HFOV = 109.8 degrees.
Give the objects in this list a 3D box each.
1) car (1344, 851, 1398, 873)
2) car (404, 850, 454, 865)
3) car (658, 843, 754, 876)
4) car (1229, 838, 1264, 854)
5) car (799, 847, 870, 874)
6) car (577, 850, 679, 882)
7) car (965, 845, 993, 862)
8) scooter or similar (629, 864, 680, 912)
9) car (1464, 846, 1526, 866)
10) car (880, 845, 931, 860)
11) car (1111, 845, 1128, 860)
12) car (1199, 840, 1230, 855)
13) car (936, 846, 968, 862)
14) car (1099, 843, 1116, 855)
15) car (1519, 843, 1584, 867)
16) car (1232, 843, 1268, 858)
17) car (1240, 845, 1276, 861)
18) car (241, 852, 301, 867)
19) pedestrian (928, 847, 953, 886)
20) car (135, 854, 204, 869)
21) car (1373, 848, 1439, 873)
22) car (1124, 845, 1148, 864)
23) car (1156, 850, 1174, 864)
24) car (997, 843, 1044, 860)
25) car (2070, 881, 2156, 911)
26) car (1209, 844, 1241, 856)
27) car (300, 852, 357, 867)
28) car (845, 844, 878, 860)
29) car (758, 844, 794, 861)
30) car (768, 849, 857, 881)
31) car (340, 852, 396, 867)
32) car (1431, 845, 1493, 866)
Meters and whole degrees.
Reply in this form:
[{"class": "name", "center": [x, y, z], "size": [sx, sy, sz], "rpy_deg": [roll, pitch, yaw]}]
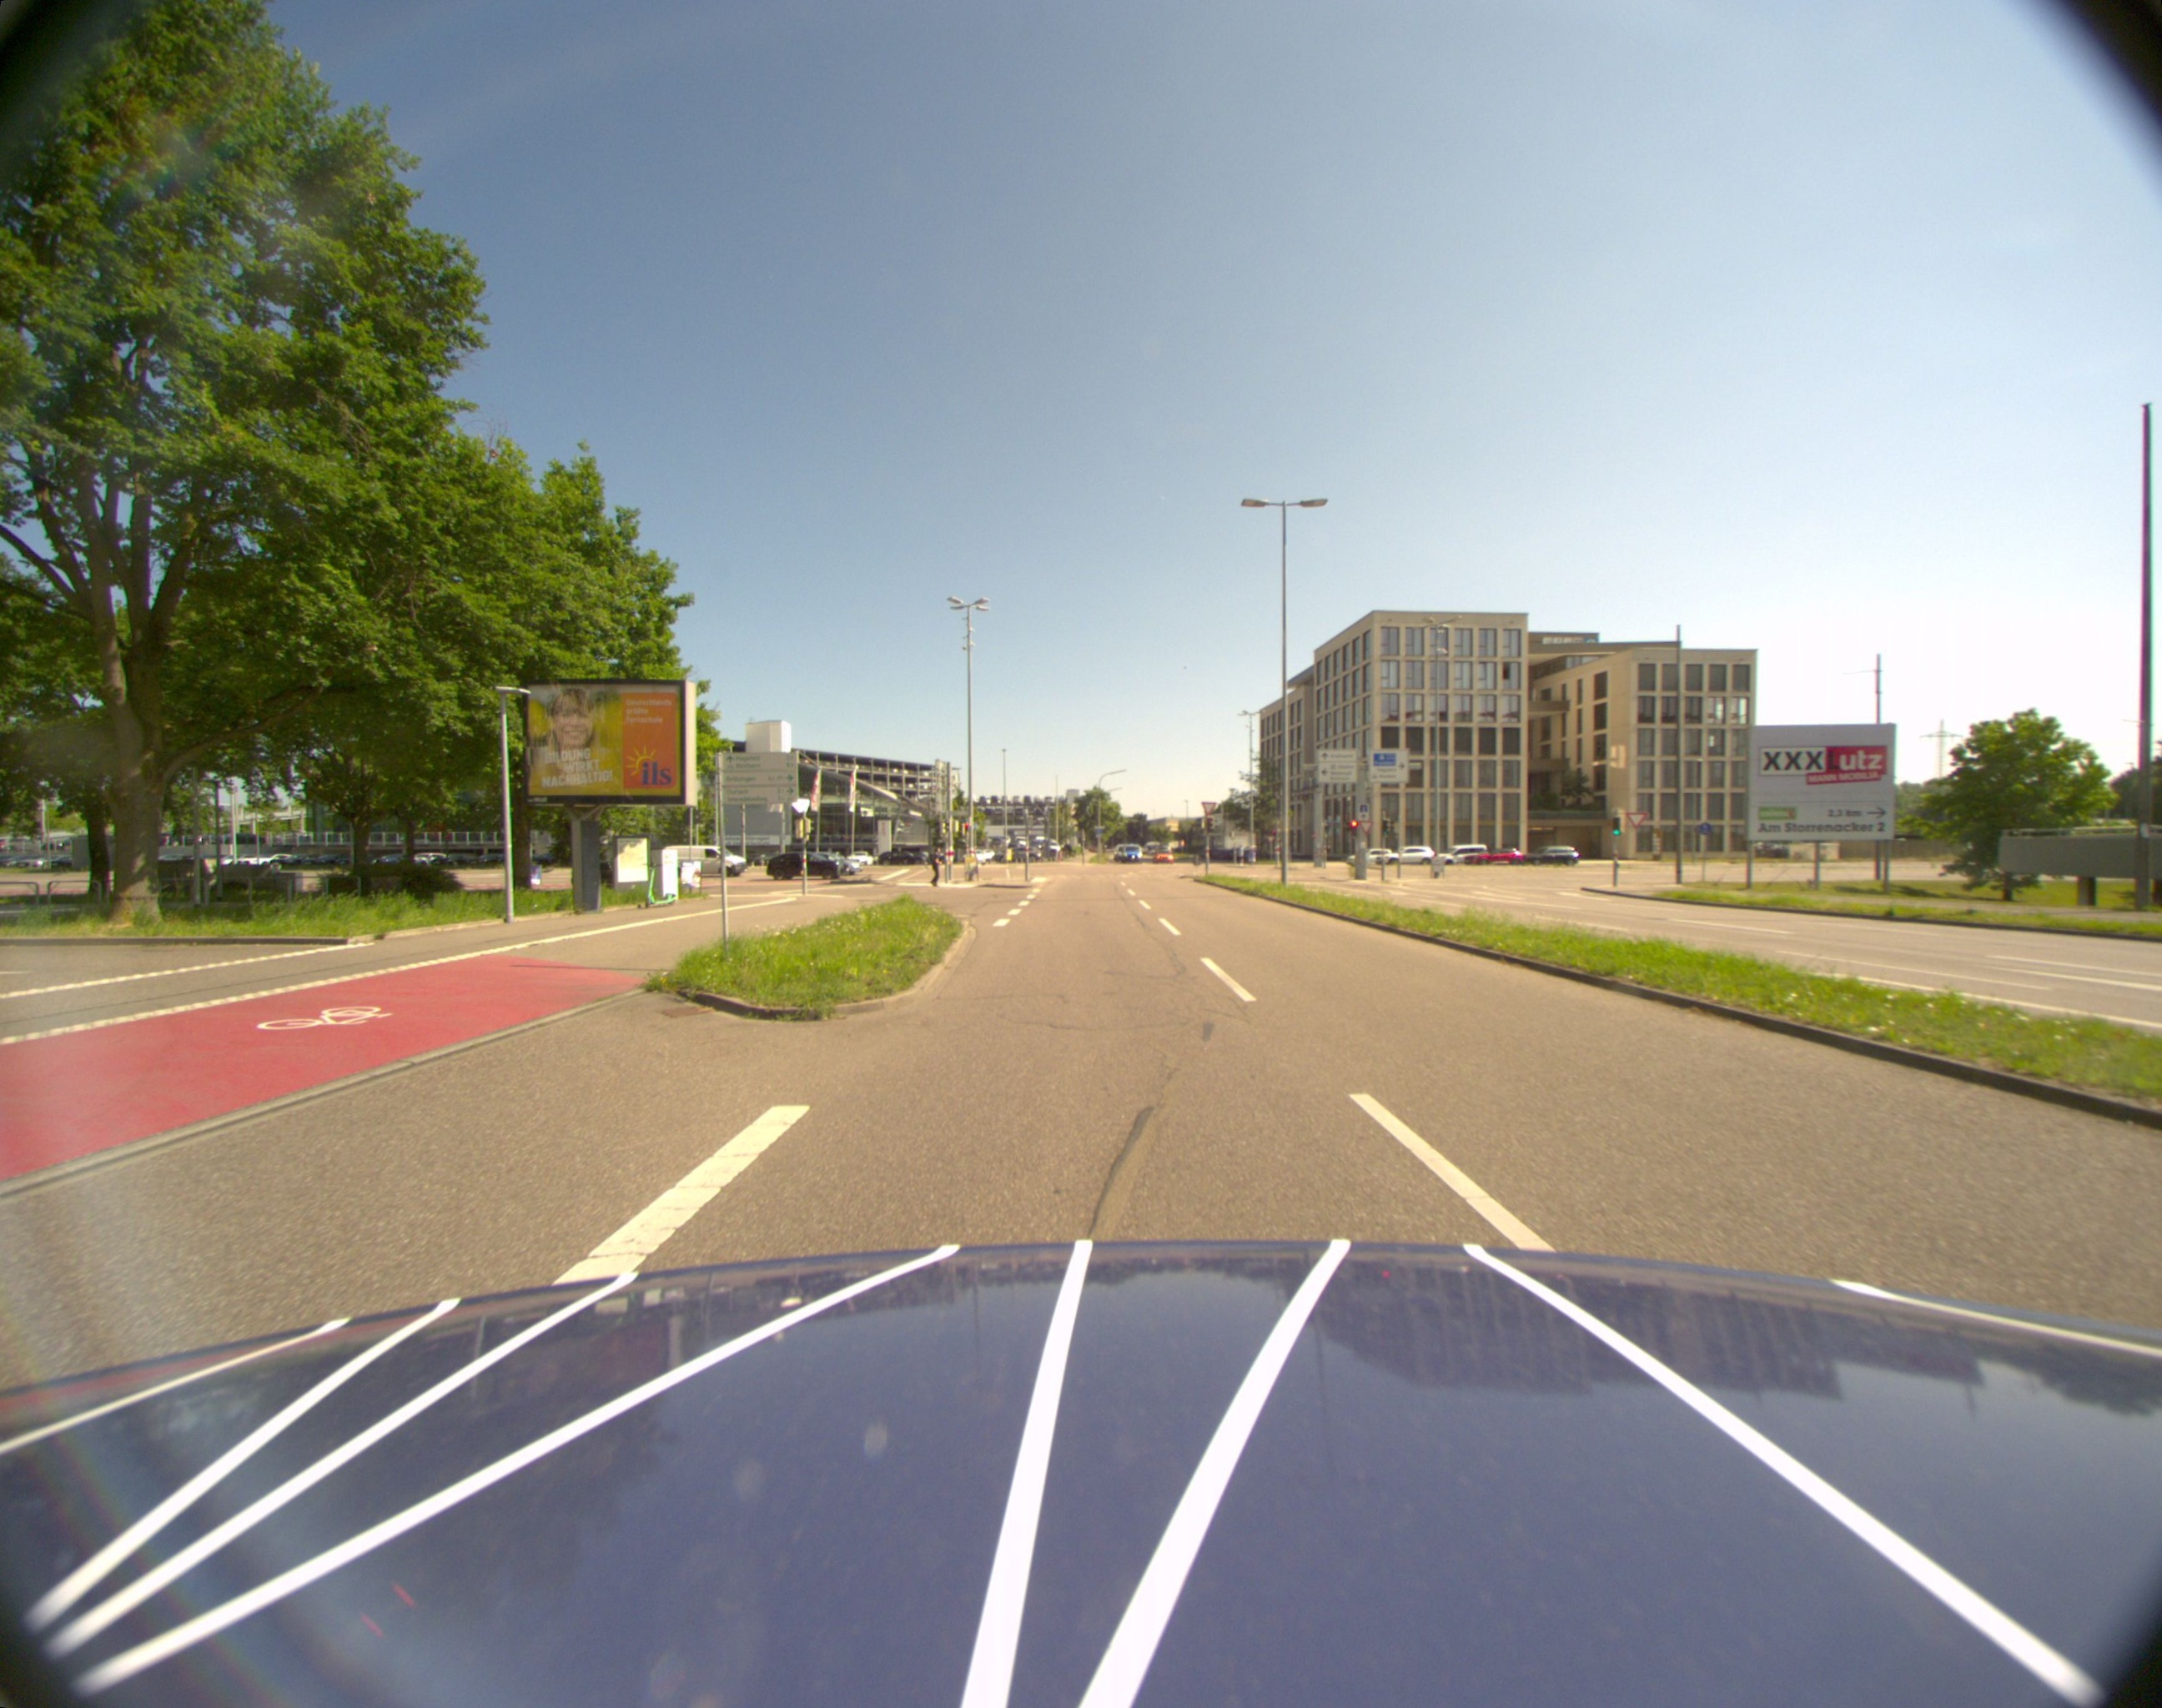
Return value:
[{"class": "car", "center": [23.860, 0.670, 62.558], "size": [3.766, 1.703, 1.832], "rpy_deg": [-1, 2, -8]}, {"class": "car", "center": [-58.319, 0.315, 67.987], "size": [1.640, 1.317, 3.171], "rpy_deg": [0, 1, 2]}, {"class": "car", "center": [-23.285, 0.326, 47.349], "size": [4.998, 1.996, 1.739], "rpy_deg": [0, 2, -4]}, {"class": "car", "center": [20.589, -0.979, 94.467], "size": [3.991, 2.002, 2.003], "rpy_deg": [0, 1, 19]}, {"class": "car", "center": [-15.529, 0.369, 47.946], "size": [3.827, 1.604, 1.760], "rpy_deg": [-1, 2, 3]}, {"class": "car", "center": [-22.744, 0.599, 38.193], "size": [4.232, 1.456, 1.773], "rpy_deg": [1, 1, 8]}, {"class": "car", "center": [-9.480, -0.070, 70.753], "size": [1.887, 1.452, 3.999], "rpy_deg": [-1, 2, 3]}, {"class": "scooter or similar", "center": [-11.079, 0.860, 19.785], "size": [0.402, 1.160, 1.185], "rpy_deg": [0, 2, 15]}, {"class": "car", "center": [32.425, 0.134, 59.565], "size": [4.118, 1.519, 1.530], "rpy_deg": [0, 1, -4]}, {"class": "car", "center": [-16.392, -0.161, 71.050], "size": [4.350, 1.342, 1.820], "rpy_deg": [0, 1, -4]}, {"class": "car", "center": [4.221, -0.146, 83.561], "size": [1.666, 1.548, 3.853], "rpy_deg": [-1, 2, 0]}, {"class": "car", "center": [18.309, -0.850, 104.332], "size": [3.991, 2.002, 2.003], "rpy_deg": [0, 1, 19]}, {"class": "car", "center": [-11.927, -0.020, 70.495], "size": [1.998, 1.452, 4.000], "rpy_deg": [0, 1, 3]}, {"class": "car", "center": [3.304, -0.578, 94.096], "size": [1.913, 1.484, 3.866], "rpy_deg": [0, 0, 5]}, {"class": "car", "center": [38.929, 0.040, 62.893], "size": [4.241, 1.878, 1.834], "rpy_deg": [-1, 2, -2]}, {"class": "car", "center": [20.116, -0.416, 90.656], "size": [3.991, 1.816, 2.003], "rpy_deg": [0, 1, 19]}, {"class": "car", "center": [20.341, -0.137, 87.467], "size": [3.993, 1.729, 2.001], "rpy_deg": [1, 2, 12]}, {"class": "car", "center": [-71.160, 0.463, 66.822], "size": [1.594, 1.242, 3.417], "rpy_deg": [0, 1, 2]}, {"class": "pedestrian", "center": [-6.468, 0.558, 34.947], "size": [0.705, 1.770, 0.961], "rpy_deg": [1, 1, 23]}, {"class": "car", "center": [-76.725, 0.620, 63.994], "size": [1.594, 1.242, 3.417], "rpy_deg": [0, 1, 2]}, {"class": "car", "center": [25.378, 0.509, 59.436], "size": [4.311, 1.827, 2.025], "rpy_deg": [-1, 2, -6]}, {"class": "car", "center": [5.550, 0.035, 76.685], "size": [2.184, 1.898, 4.732], "rpy_deg": [0, 1, 6]}, {"class": "car", "center": [8.462, 0.298, 76.425], "size": [1.738, 1.356, 3.867], "rpy_deg": [0, 1, 6]}, {"class": "car", "center": [-6.013, -0.263, 75.664], "size": [4.479, 1.578, 1.979], "rpy_deg": [0, 1, -1]}, {"class": "car", "center": [35.611, 1.433, 26.238], "size": [1.942, 0.969, 0.889], "rpy_deg": [-1, 0, -5]}, {"class": "car", "center": [19.294, -0.597, 101.532], "size": [3.991, 1.605, 2.003], "rpy_deg": [0, 1, 19]}, {"class": "car", "center": [-66.304, 0.439, 67.008], "size": [1.594, 1.242, 3.417], "rpy_deg": [0, 1, 2]}, {"class": "car", "center": [-20.164, -0.189, 69.989], "size": [2.004, 1.414, 4.112], "rpy_deg": [0, 1, -2]}, {"class": "car", "center": [-27.823, -0.172, 69.432], "size": [1.930, 1.553, 3.886], "rpy_deg": [0, 1, -4]}, {"class": "car", "center": [-15.494, 0.615, 44.059], "size": [4.502, 1.618, 1.714], "rpy_deg": [-2, 2, -4]}, {"class": "car", "center": [-63.105, 0.460, 67.296], "size": [1.594, 1.242, 3.418], "rpy_deg": [0, 1, 4]}, {"class": "car", "center": [31.498, 0.123, 62.886], "size": [4.230, 1.701, 1.903], "rpy_deg": [0, 1, -4]}]
